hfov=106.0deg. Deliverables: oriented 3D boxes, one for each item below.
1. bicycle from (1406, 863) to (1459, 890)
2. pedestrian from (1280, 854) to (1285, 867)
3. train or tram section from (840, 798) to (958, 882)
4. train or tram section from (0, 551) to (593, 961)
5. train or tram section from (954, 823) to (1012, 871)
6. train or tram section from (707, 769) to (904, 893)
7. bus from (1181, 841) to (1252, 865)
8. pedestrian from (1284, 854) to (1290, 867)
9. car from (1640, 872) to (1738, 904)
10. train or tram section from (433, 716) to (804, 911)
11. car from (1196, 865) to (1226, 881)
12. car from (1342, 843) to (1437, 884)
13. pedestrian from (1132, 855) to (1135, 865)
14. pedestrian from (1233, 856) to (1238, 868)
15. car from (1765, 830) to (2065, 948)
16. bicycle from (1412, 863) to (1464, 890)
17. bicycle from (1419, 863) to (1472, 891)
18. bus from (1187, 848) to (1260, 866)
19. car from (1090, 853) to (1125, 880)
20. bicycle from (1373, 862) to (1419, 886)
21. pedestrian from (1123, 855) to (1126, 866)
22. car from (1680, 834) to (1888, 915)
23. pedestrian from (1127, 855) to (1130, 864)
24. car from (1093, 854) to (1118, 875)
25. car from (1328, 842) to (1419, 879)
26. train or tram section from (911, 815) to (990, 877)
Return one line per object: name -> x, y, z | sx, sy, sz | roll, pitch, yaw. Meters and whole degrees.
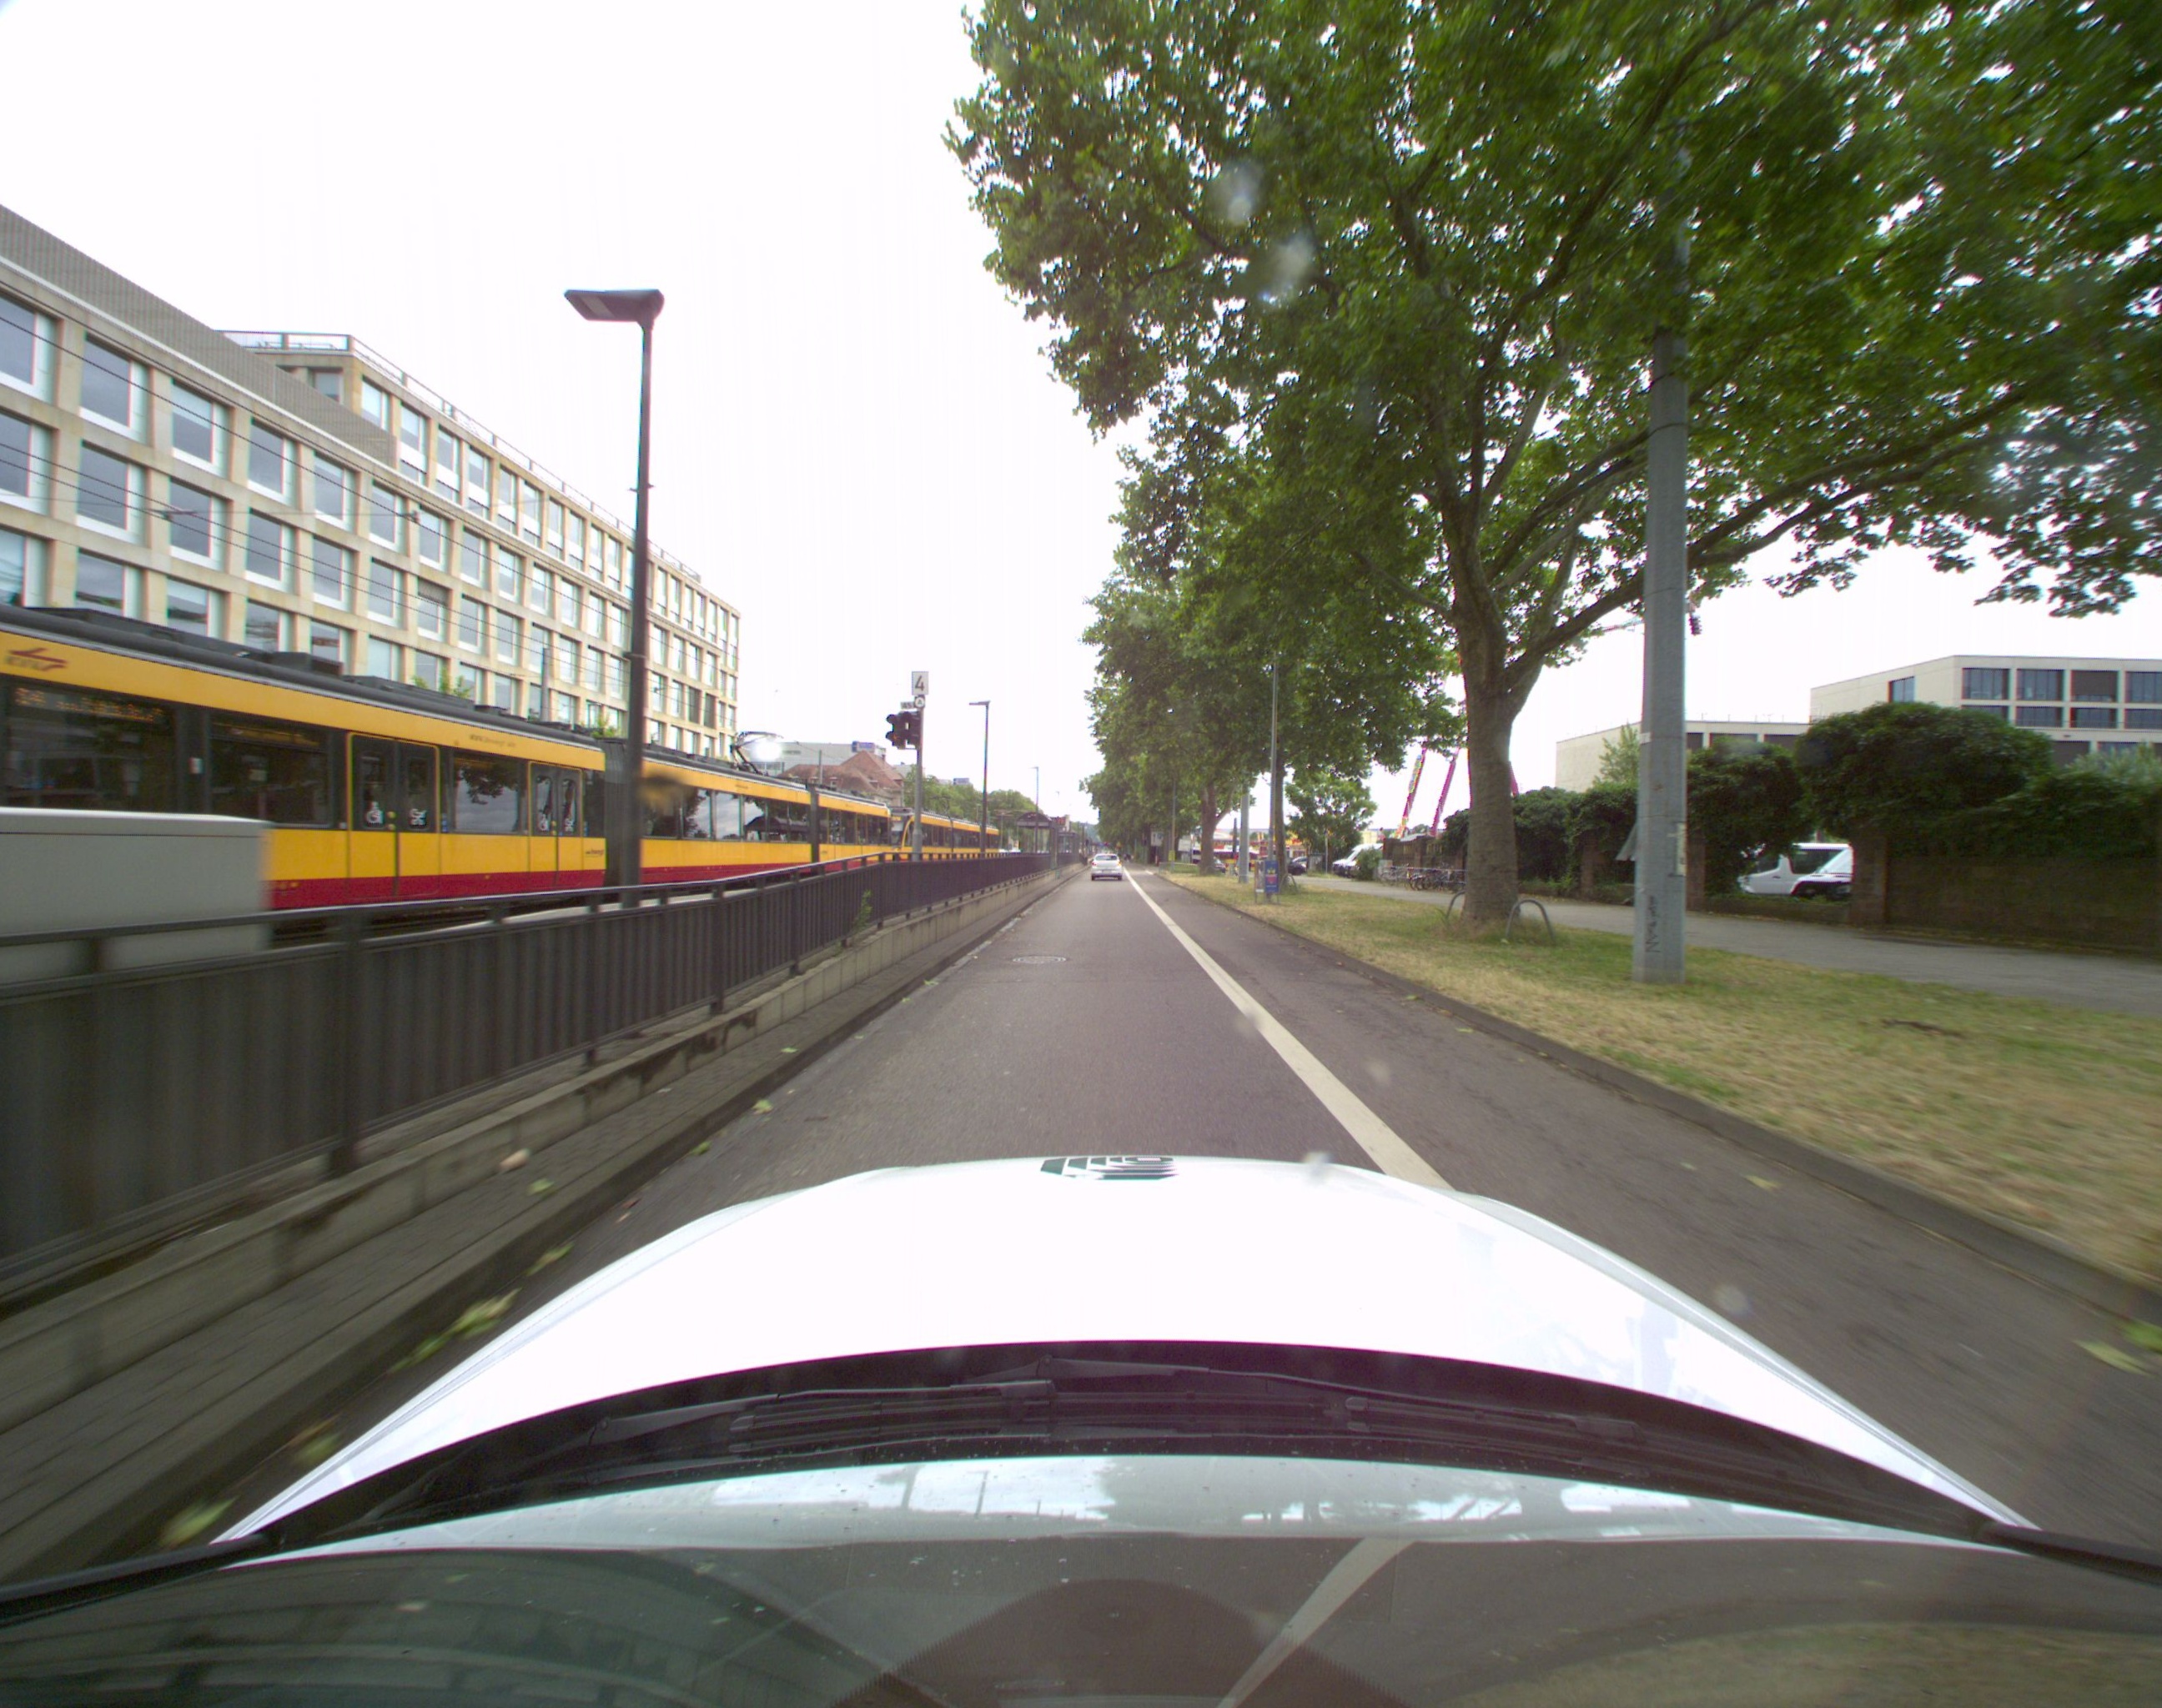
bicycle -> 14.672, 0.920, 33.980 | 1.968, 1.095, 0.550 | 0, -1, -1
pedestrian -> 25.374, 0.812, 102.561 | 0.523, 1.687, 0.492 | 1, -1, -15
train or tram section -> -10.363, -0.625, 48.715 | 3.168, 4.179, 14.740 | 1, -1, 2
train or tram section -> -11.708, -0.918, 10.770 | 3.225, 3.862, 11.316 | 1, -1, 2
train or tram section -> -9.188, -0.523, 78.211 | 3.168, 4.179, 14.740 | 1, -1, 2
train or tram section -> -10.840, -0.715, 34.509 | 3.168, 4.179, 13.626 | 1, -1, 2
bus -> 18.237, -0.110, 110.200 | 9.250, 2.960, 1.999 | 1, -1, -1
pedestrian -> 26.104, 0.827, 103.022 | 0.523, 1.687, 0.492 | 1, -1, -15
car -> 29.089, 1.602, 39.087 | 3.529, 1.420, 1.620 | 1, -1, 26
train or tram section -> -11.242, -0.762, 22.074 | 3.151, 3.862, 11.316 | 1, -1, 2
car -> 11.747, 1.705, 73.719 | 1.858, 1.430, 3.996 | 1, -1, -2
car -> 21.493, 0.667, 56.919 | 5.765, 2.535, 2.040 | 3, -1, 1
pedestrian -> 8.682, 0.965, 135.243 | 0.393, 1.585, 0.540 | 1, -1, 14
pedestrian -> 19.080, 1.002, 100.884 | 0.491, 1.463, 0.523 | 1, -1, -1
car -> 20.042, 0.818, 19.740 | 5.217, 2.421, 2.074 | 3, -1, -1
bicycle -> 14.592, 0.912, 33.342 | 1.894, 1.097, 0.550 | 0, -1, -1
bicycle -> 14.638, 0.915, 32.763 | 1.884, 1.105, 0.550 | 0, -1, -1
bus -> 18.654, 0.421, 107.122 | 9.250, 2.227, 1.999 | 1, -1, -1
car -> 1.498, 0.694, 46.877 | 1.879, 1.453, 4.000 | 1, -1, 1
bicycle -> 14.678, 0.944, 37.923 | 1.915, 1.091, 0.550 | 0, -1, -1
pedestrian -> 8.310, 1.235, 156.687 | 0.393, 2.014, 0.404 | 1, -1, 17
car -> 21.792, 0.635, 25.346 | 5.081, 2.264, 1.665 | 2, -1, -1
pedestrian -> 7.928, 0.902, 135.323 | 0.393, 1.444, 0.565 | 1, -1, 15
car -> 1.907, 0.776, 62.466 | 1.833, 1.552, 4.003 | 1, 0, 3
car -> 21.599, 0.503, 60.332 | 6.004, 2.555, 2.099 | 1, -1, 0
train or tram section -> -9.806, -0.460, 63.499 | 3.168, 4.179, 14.740 | 1, -1, 2
